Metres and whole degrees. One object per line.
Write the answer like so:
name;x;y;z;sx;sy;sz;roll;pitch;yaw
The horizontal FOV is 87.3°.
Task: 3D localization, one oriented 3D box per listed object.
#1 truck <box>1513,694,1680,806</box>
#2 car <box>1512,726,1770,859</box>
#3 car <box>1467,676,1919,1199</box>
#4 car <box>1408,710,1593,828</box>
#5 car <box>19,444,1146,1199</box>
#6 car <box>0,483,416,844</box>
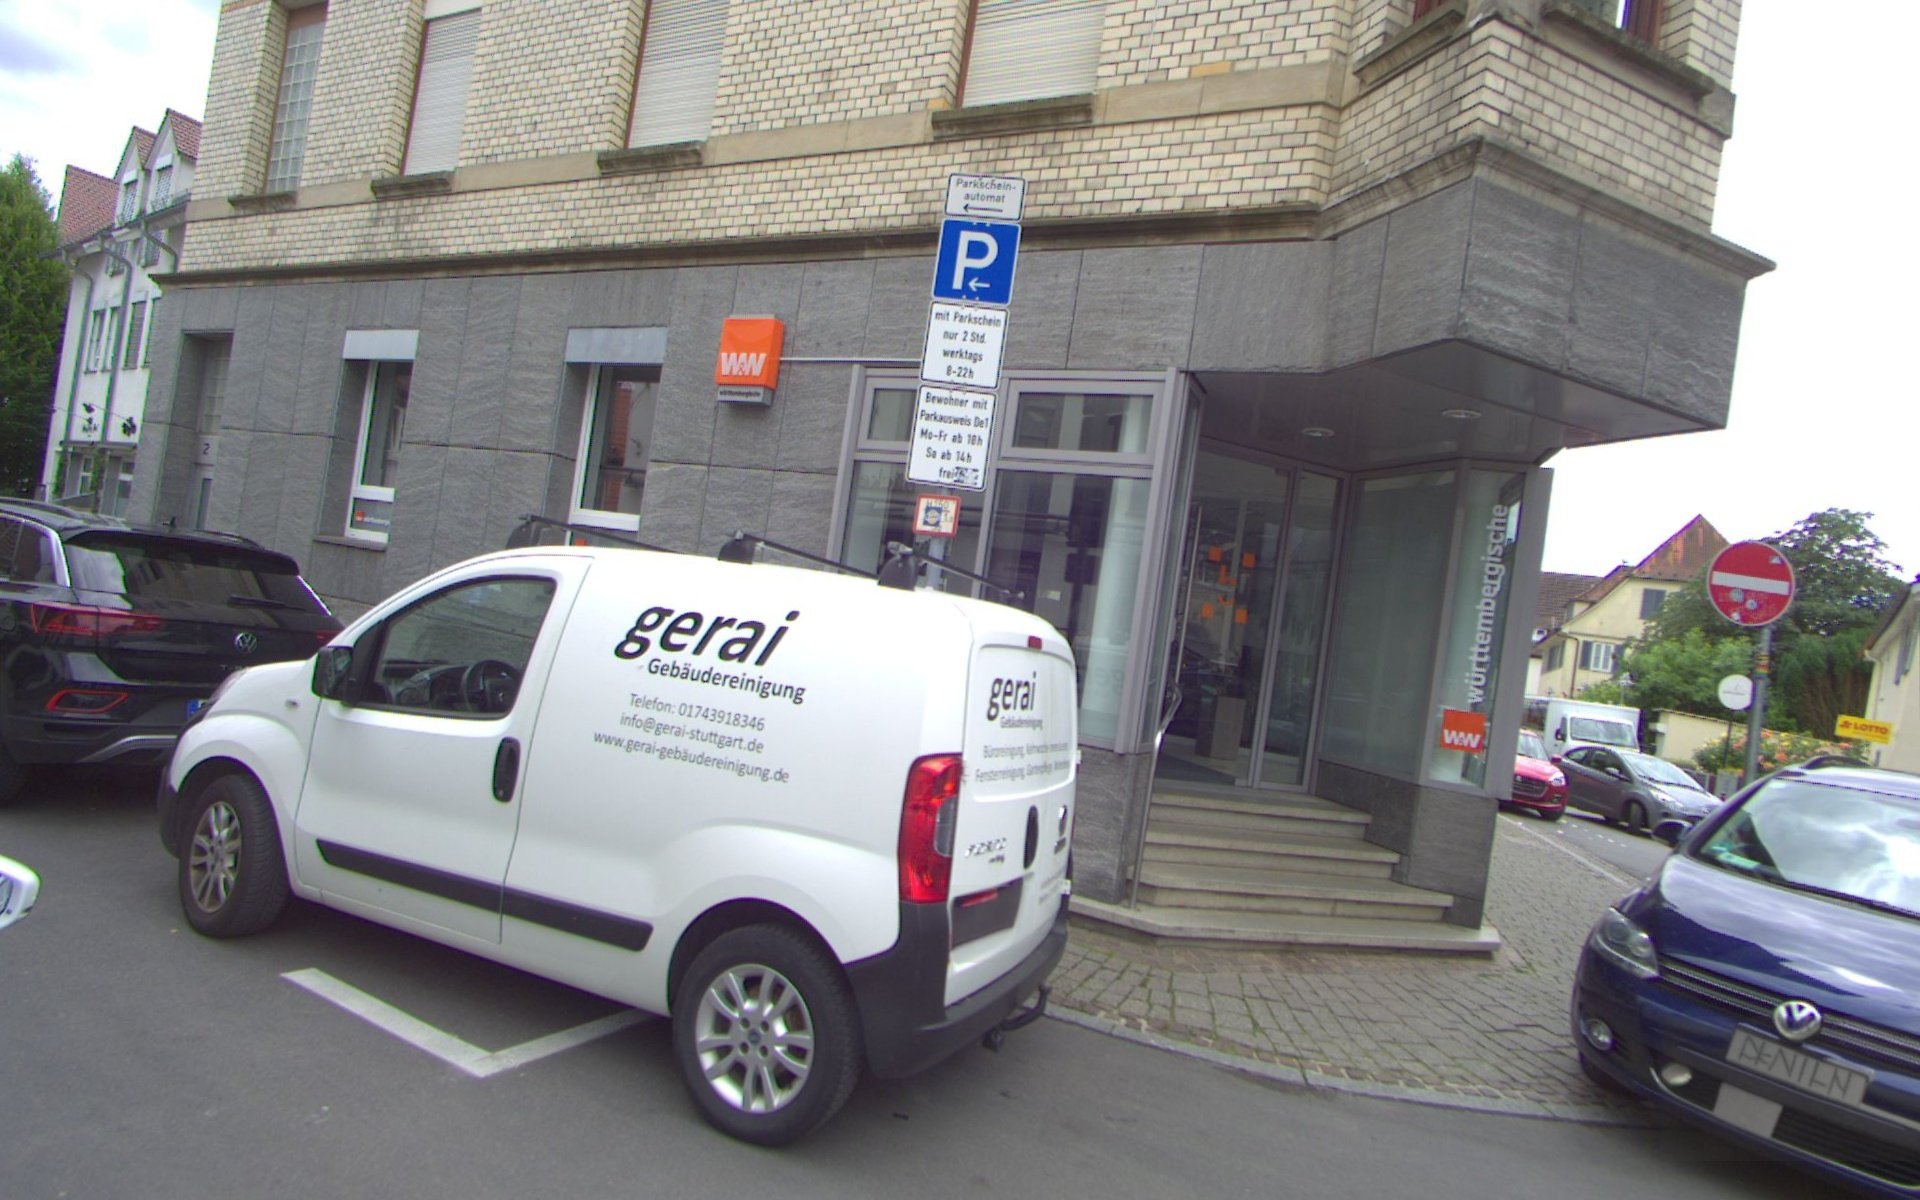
truck;19.674;4.532;31.458;2.789;2.721;5.302;8;-2;17
car;12.699;3.539;19.128;1.753;1.532;4.005;10;-1;-5
car;4.268;1.501;4.622;3.994;1.722;1.843;11;-4;-38
car;10.030;3.064;19.070;2.084;1.563;4.391;9;-3;18
car;-1.559;0.595;4.258;4.141;1.812;1.833;8;-2;23
car;-5.859;0.144;6.307;4.460;1.618;1.795;7;-2;24
